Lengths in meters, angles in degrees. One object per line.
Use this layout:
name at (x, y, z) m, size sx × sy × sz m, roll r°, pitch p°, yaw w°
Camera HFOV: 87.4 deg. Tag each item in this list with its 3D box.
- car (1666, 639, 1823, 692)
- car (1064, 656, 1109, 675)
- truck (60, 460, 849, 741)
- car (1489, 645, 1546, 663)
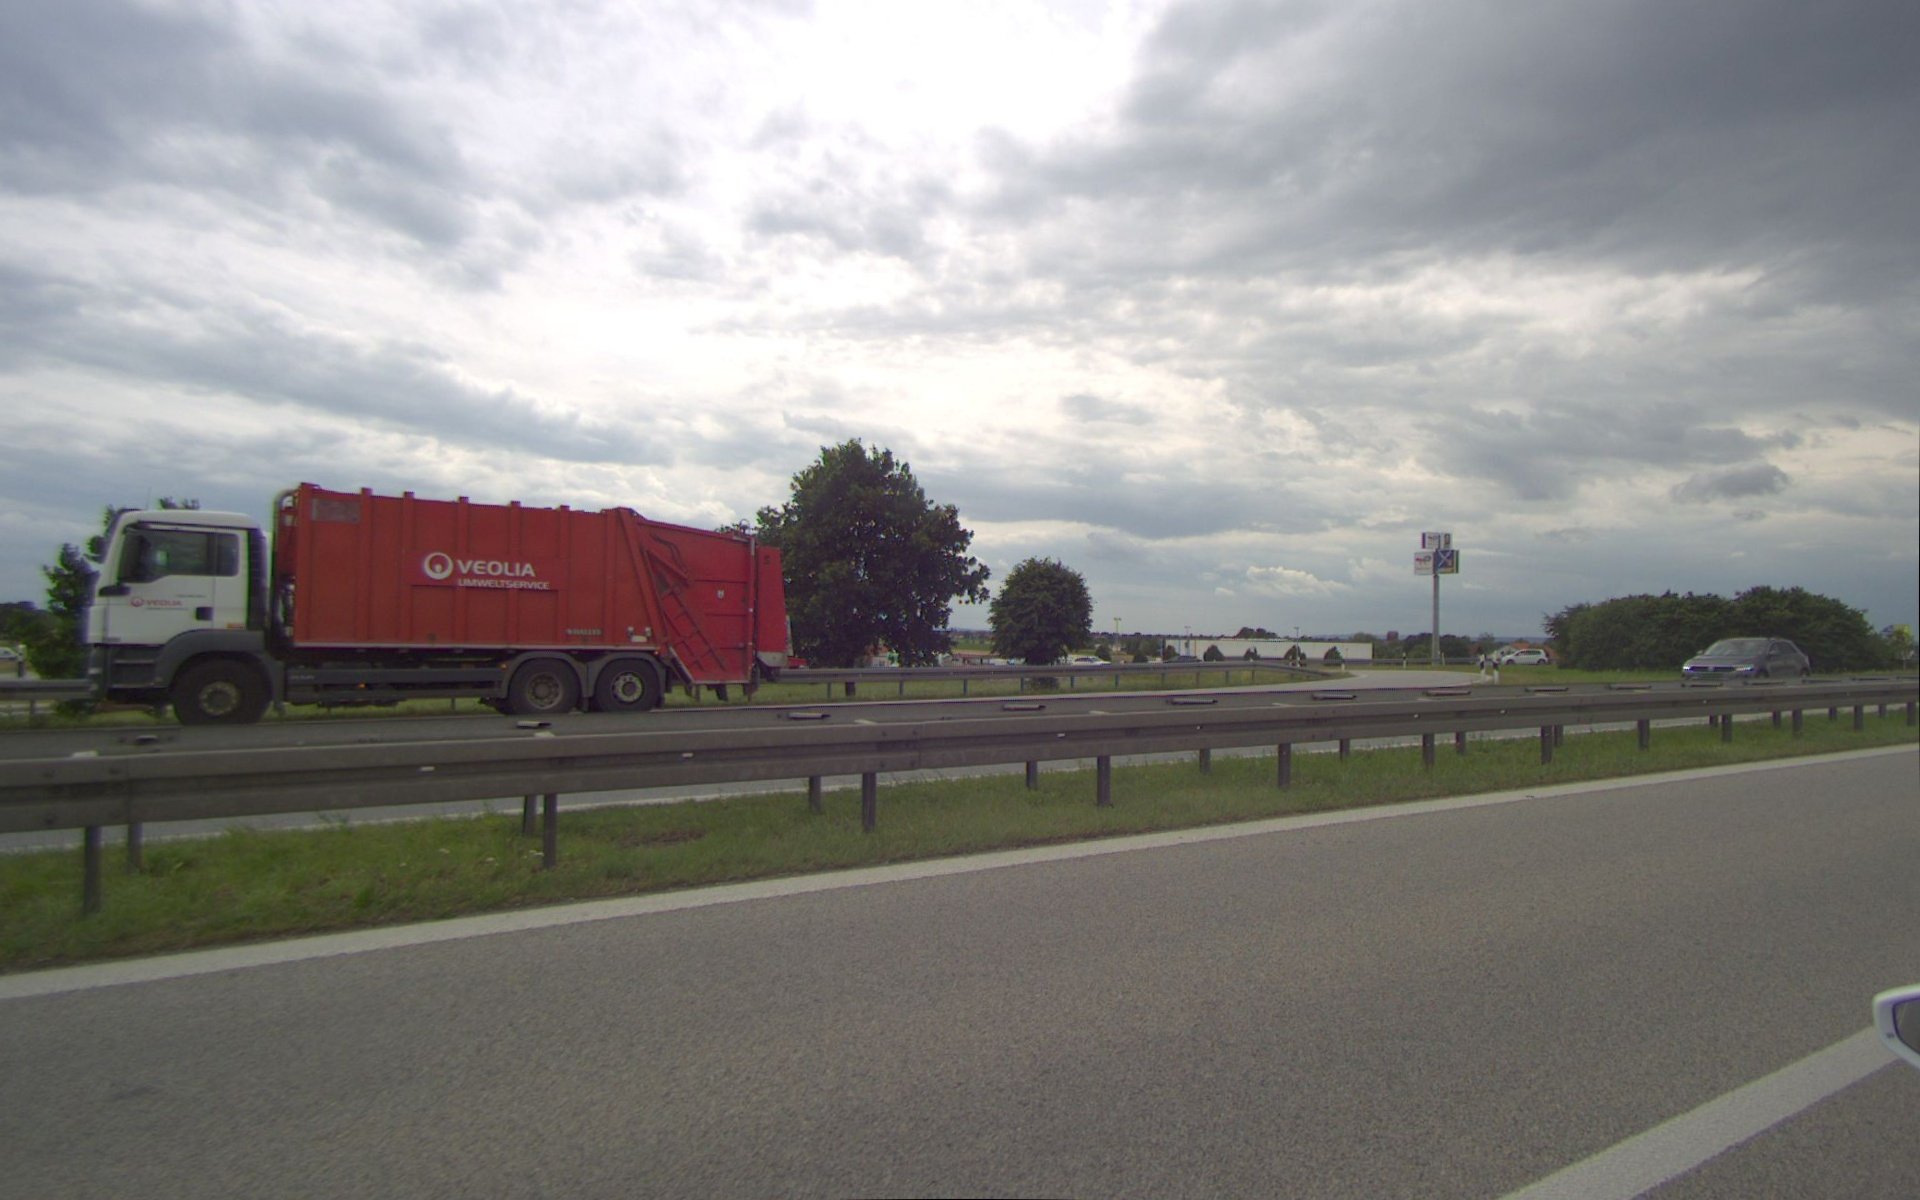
car at (21.967, 1.783, 28.089) m, size 4.726 × 1.363 × 1.817 m, roll 2°, pitch -2°, yaw -30°
car at (12.692, 6.544, 101.218) m, size 1.906 × 1.493 × 4.235 m, roll 1°, pitch 1°, yaw -44°
truck at (-7.403, 0.212, 16.812) m, size 10.952 × 3.582 × 2.655 m, roll 2°, pitch -3°, yaw -31°
car at (48.691, 4.723, 87.811) m, size 3.921 × 1.318 × 1.887 m, roll -3°, pitch 0°, yaw 17°
